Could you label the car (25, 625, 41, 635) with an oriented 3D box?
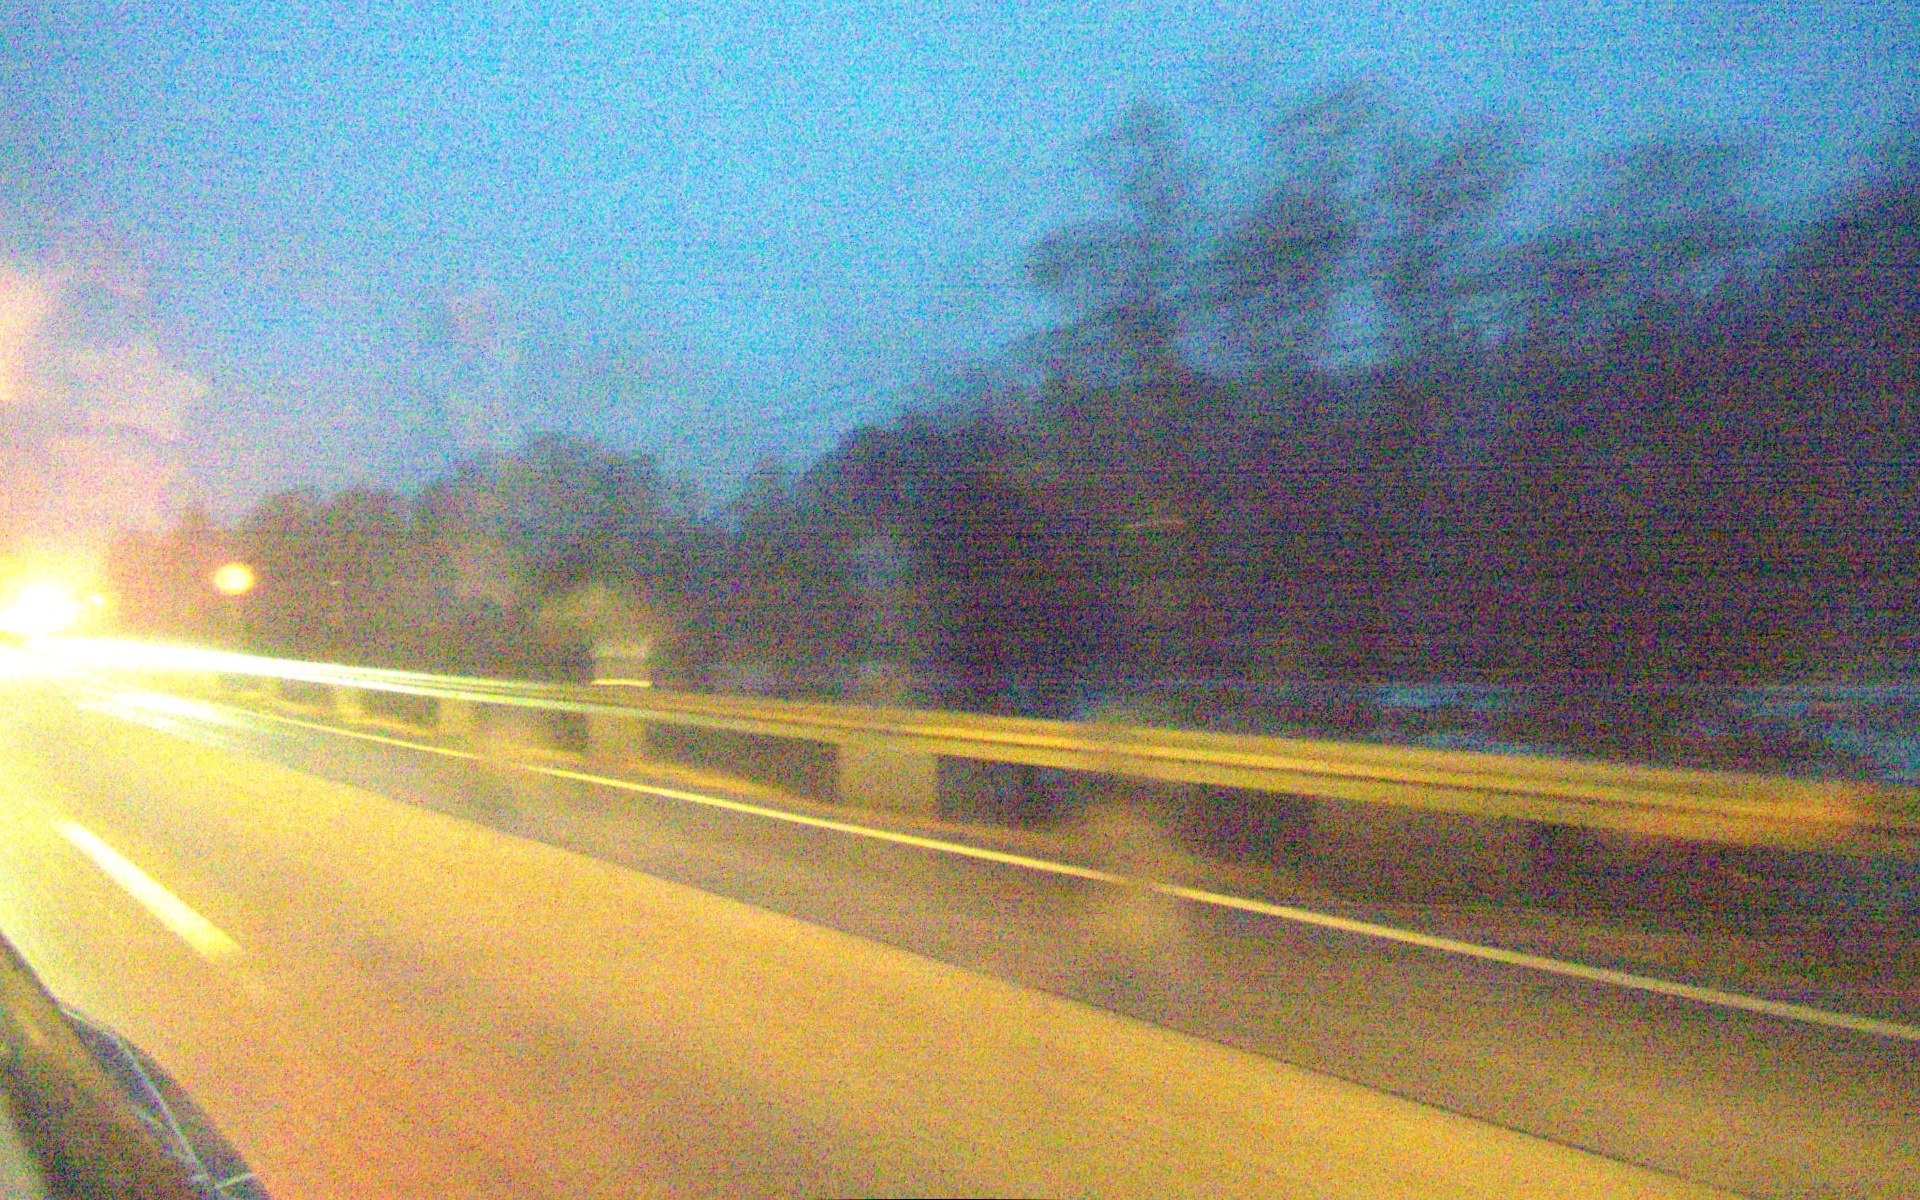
[{"bbox_3d":[-155.504,4.981,169.808,1.808,1.566,4.447,-1,-1,-42],"label":"car"}]
